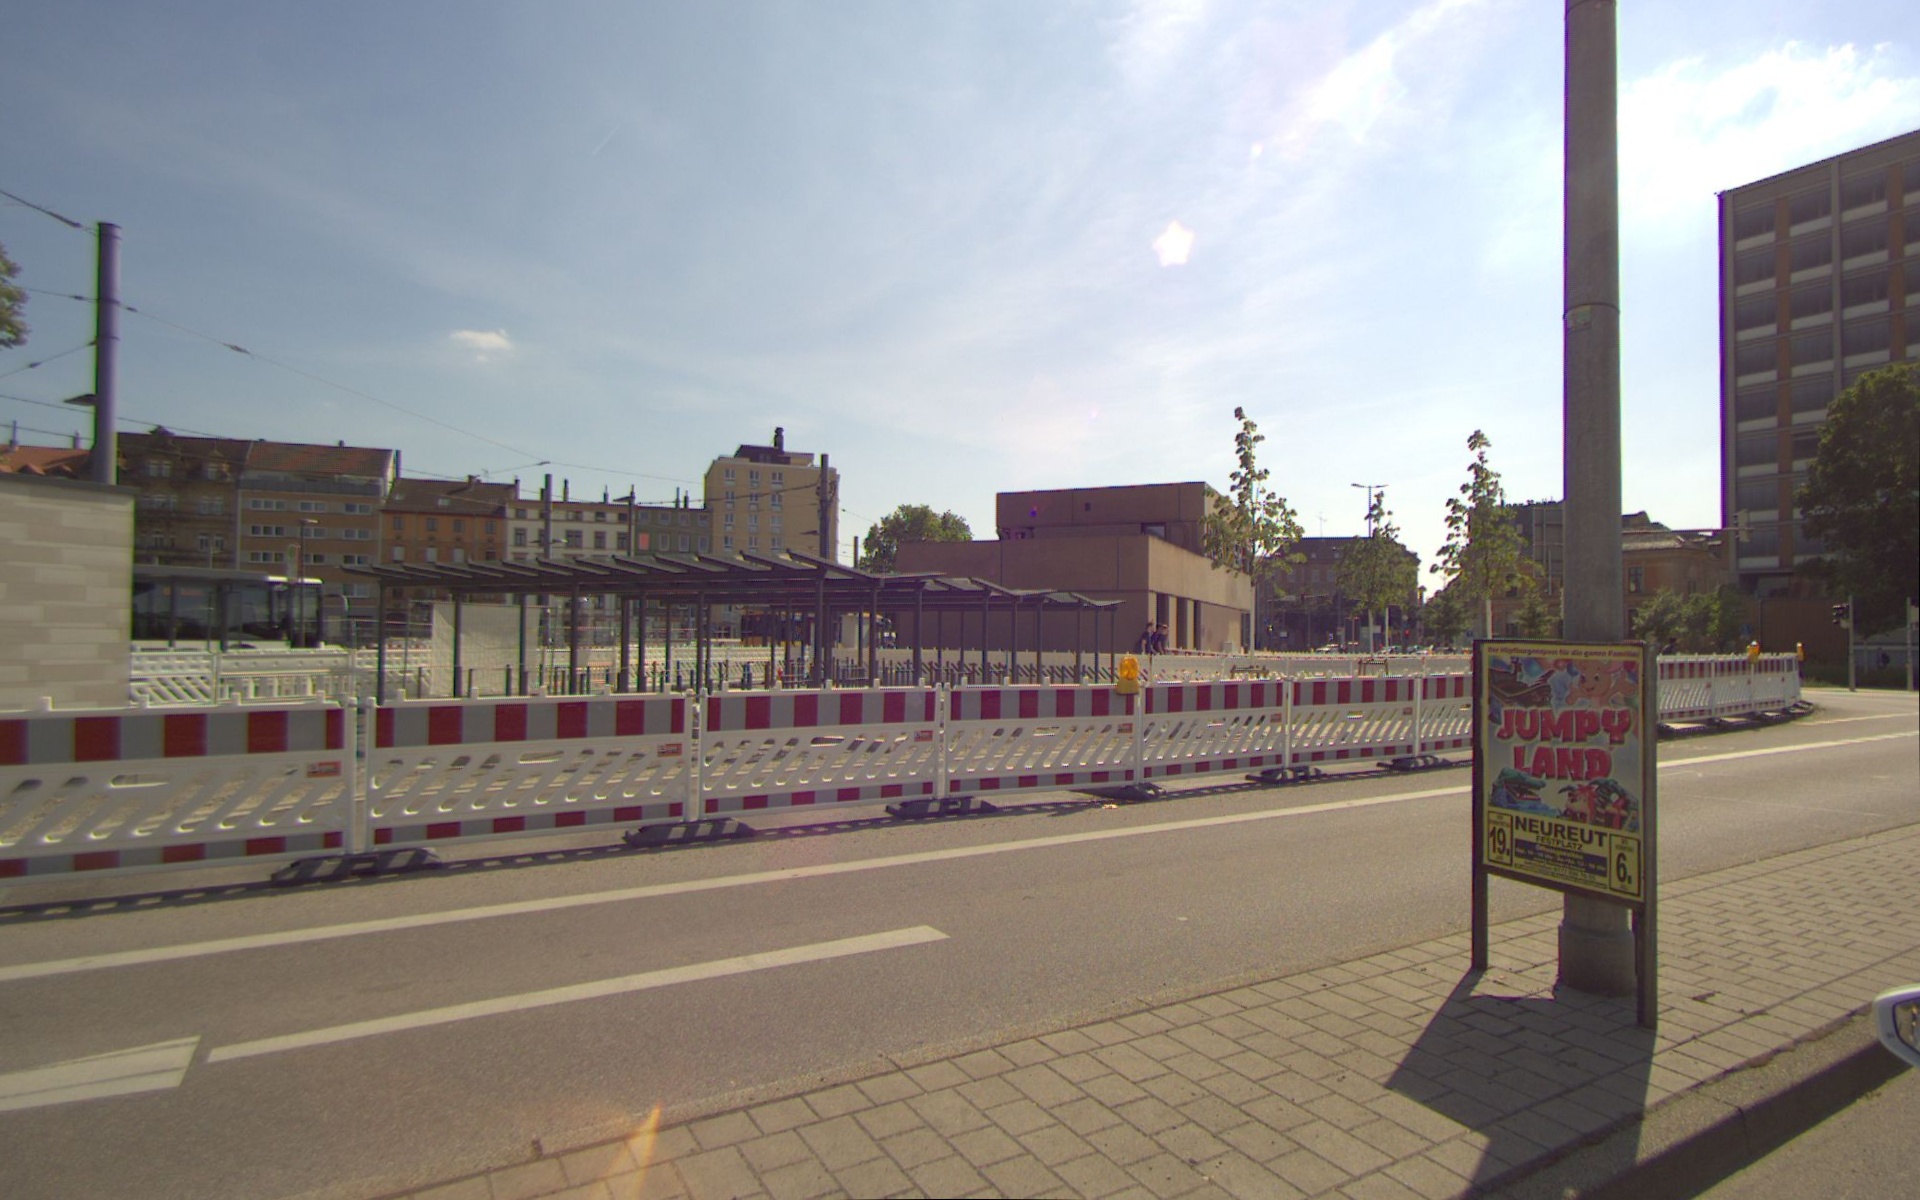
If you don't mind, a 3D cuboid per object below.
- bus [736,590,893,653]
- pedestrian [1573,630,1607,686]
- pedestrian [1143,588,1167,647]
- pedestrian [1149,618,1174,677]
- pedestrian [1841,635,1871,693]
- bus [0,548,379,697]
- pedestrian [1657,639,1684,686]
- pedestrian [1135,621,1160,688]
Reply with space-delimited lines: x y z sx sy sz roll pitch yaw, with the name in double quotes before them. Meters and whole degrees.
"bus" -8.189 1.394 59.418 2.808 3.324 12.651 -1 -2 25
"pedestrian" 20.661 1.901 32.956 0.728 1.775 1.105 -2 -5 43
"pedestrian" 5.946 0.544 30.652 0.559 1.801 0.544 1 -2 -9
"pedestrian" 6.003 1.407 29.919 0.559 1.731 0.539 1 -2 -9
"pedestrian" 32.679 2.328 36.640 0.604 2.040 0.687 2 -1 23
"bus" -22.734 0.674 27.379 2.808 3.535 12.651 -1 -2 25
"pedestrian" 22.838 2.003 32.286 0.624 1.511 0.613 -2 -3 44
"pedestrian" 5.473 1.595 29.297 0.595 1.940 0.441 1 -2 -10
